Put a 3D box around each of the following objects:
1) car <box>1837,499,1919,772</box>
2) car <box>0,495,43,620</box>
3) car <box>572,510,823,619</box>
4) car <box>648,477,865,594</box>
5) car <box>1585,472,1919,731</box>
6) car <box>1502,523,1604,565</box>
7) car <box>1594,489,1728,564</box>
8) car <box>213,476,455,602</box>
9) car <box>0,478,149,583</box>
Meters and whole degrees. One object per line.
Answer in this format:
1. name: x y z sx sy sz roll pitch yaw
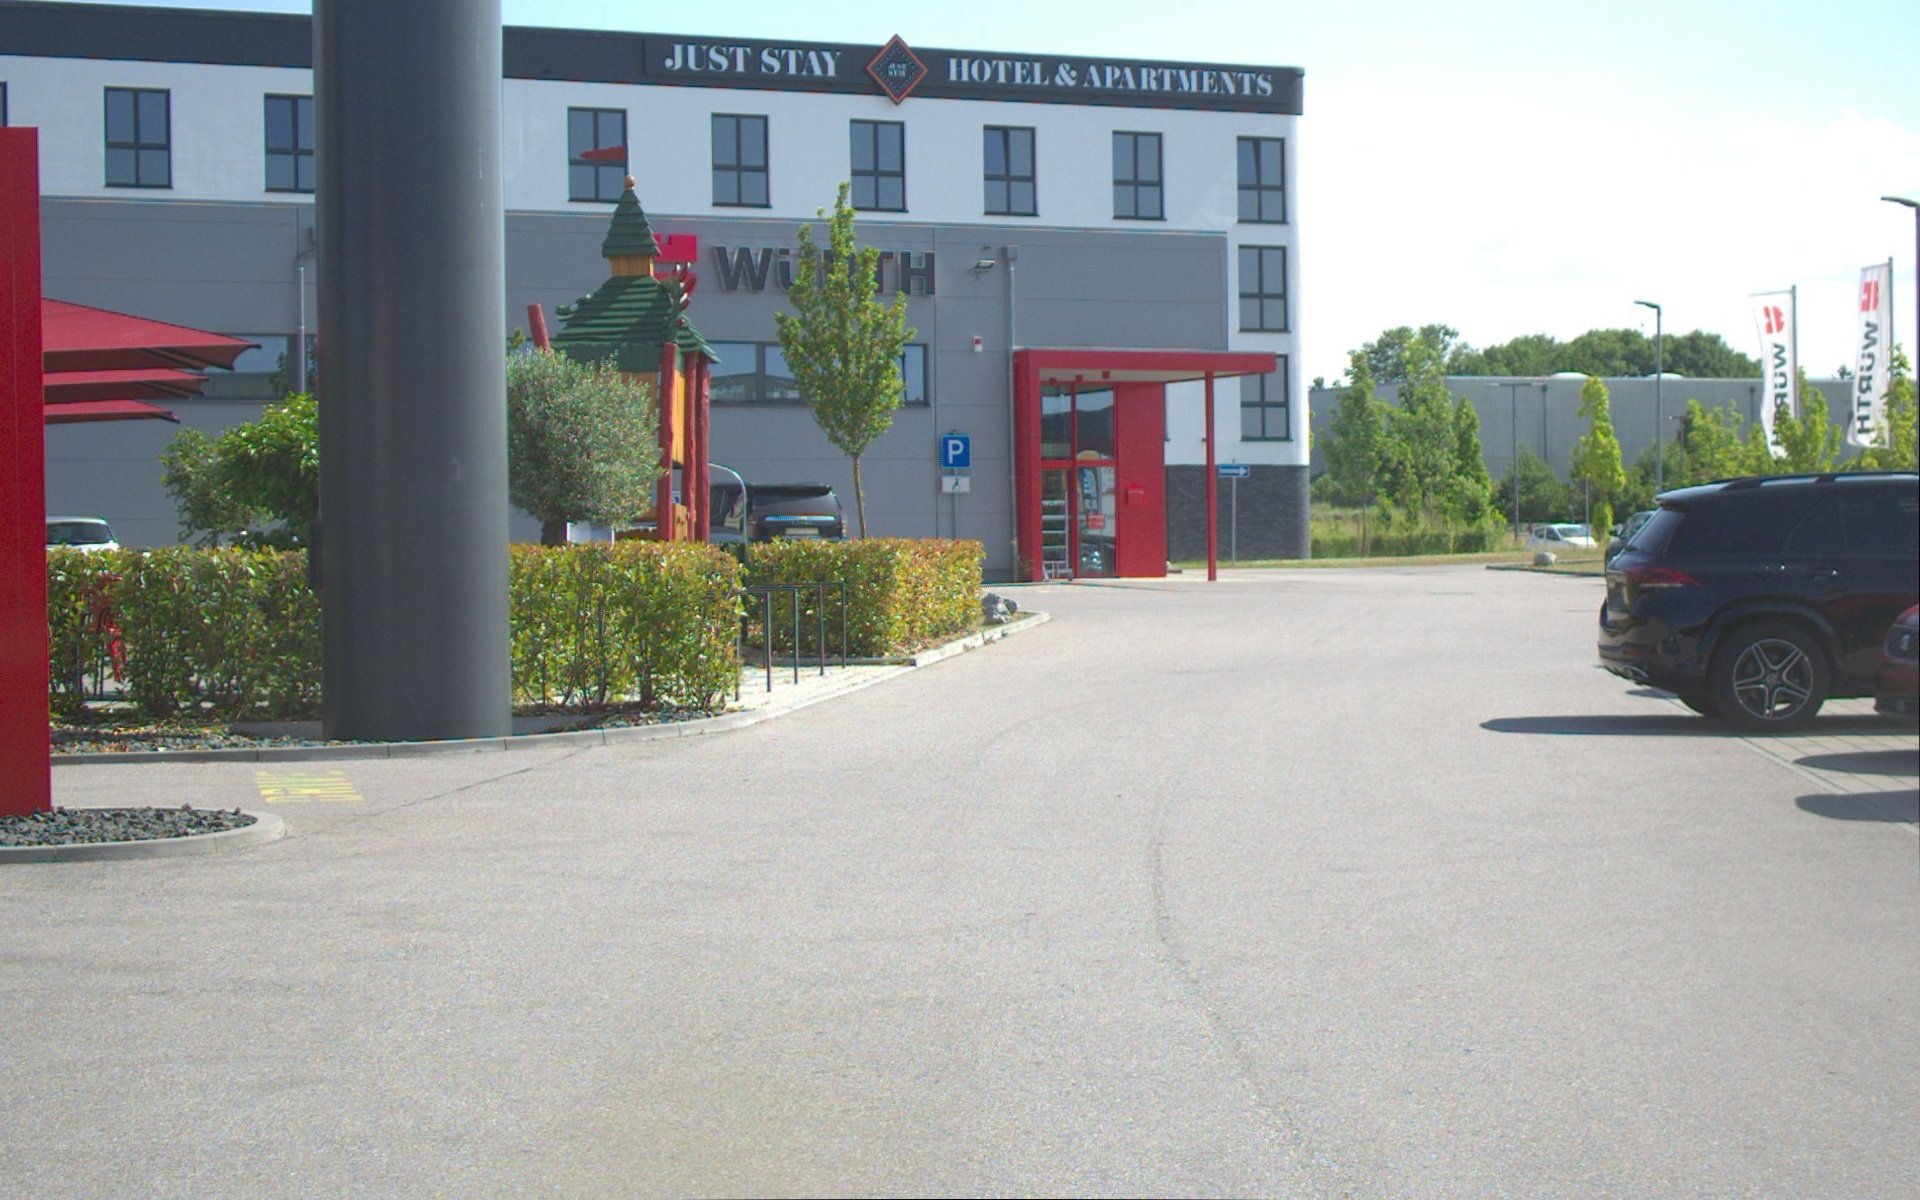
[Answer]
1. car: 7.702 0.196 21.257 4.068 1.603 1.896 0 2 1
2. car: -11.072 -0.480 37.876 1.642 1.304 3.842 -1 2 -12
3. car: -3.601 -0.518 46.436 1.862 1.358 4.377 -1 2 -26
4. car: -3.503 -1.135 58.289 2.070 1.874 4.880 -1 2 -24
5. car: 6.859 -0.006 24.284 4.575 1.754 1.895 0 1 3
6. car: 21.707 -2.062 125.907 1.872 1.478 4.001 -1 2 -21
7. car: 13.432 -1.420 66.018 1.698 1.401 3.897 0 2 -1
8. car: -8.189 -0.828 44.699 1.947 1.525 4.377 -1 2 -26
9. car: -14.412 -1.132 54.759 1.947 1.580 4.377 -1 2 -26
